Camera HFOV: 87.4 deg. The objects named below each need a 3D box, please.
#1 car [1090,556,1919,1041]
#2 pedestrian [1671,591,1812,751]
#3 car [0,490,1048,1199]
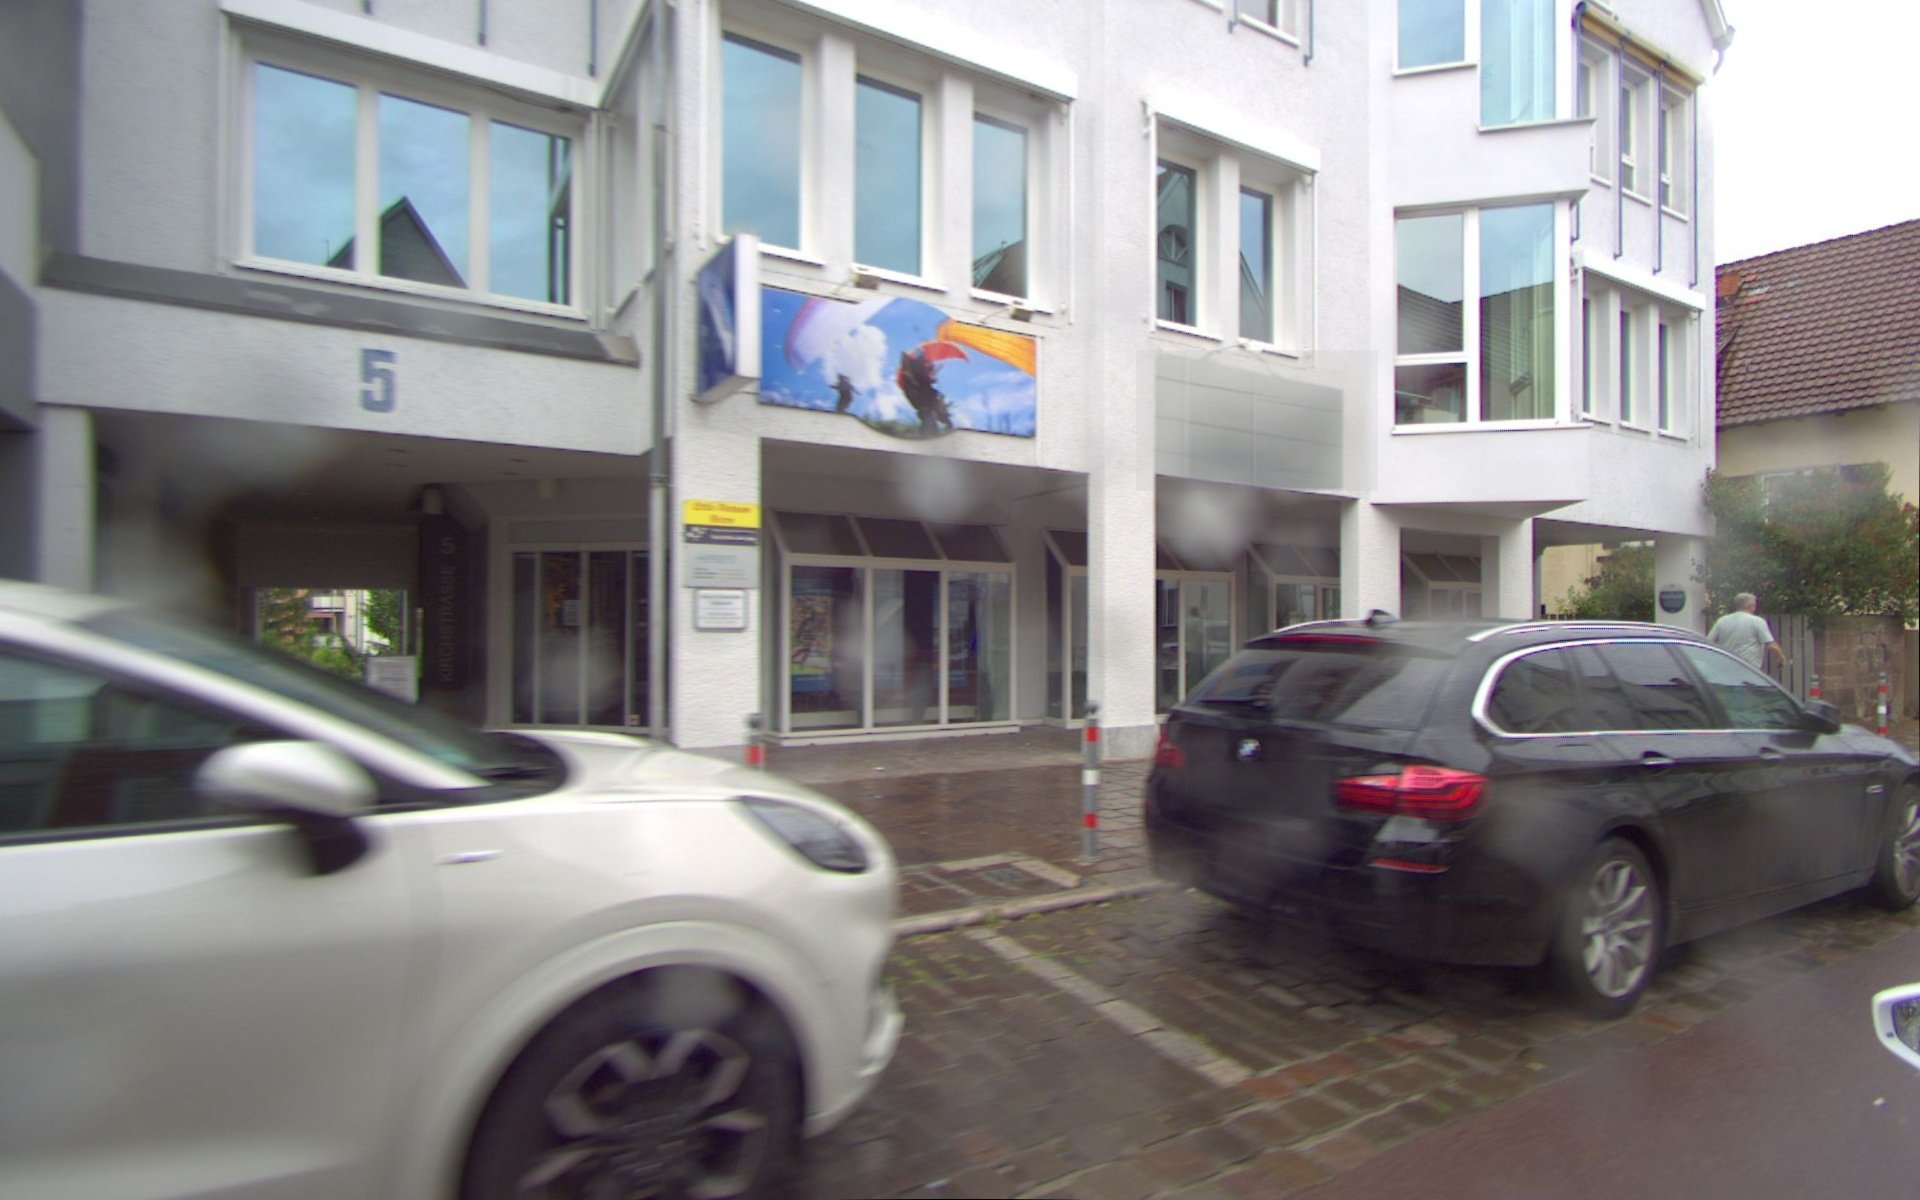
[{"bbox_3d":[3.091,0.695,5.151,4.707,1.518,1.822,1,-2,-30],"label":"car"},{"bbox_3d":[9.502,0.823,12.233,1.103,1.830,1.030,1,-1,-31],"label":"pedestrian"},{"bbox_3d":[-1.937,0.621,2.250,3.956,1.571,1.782,3,-2,-32],"label":"car"}]
